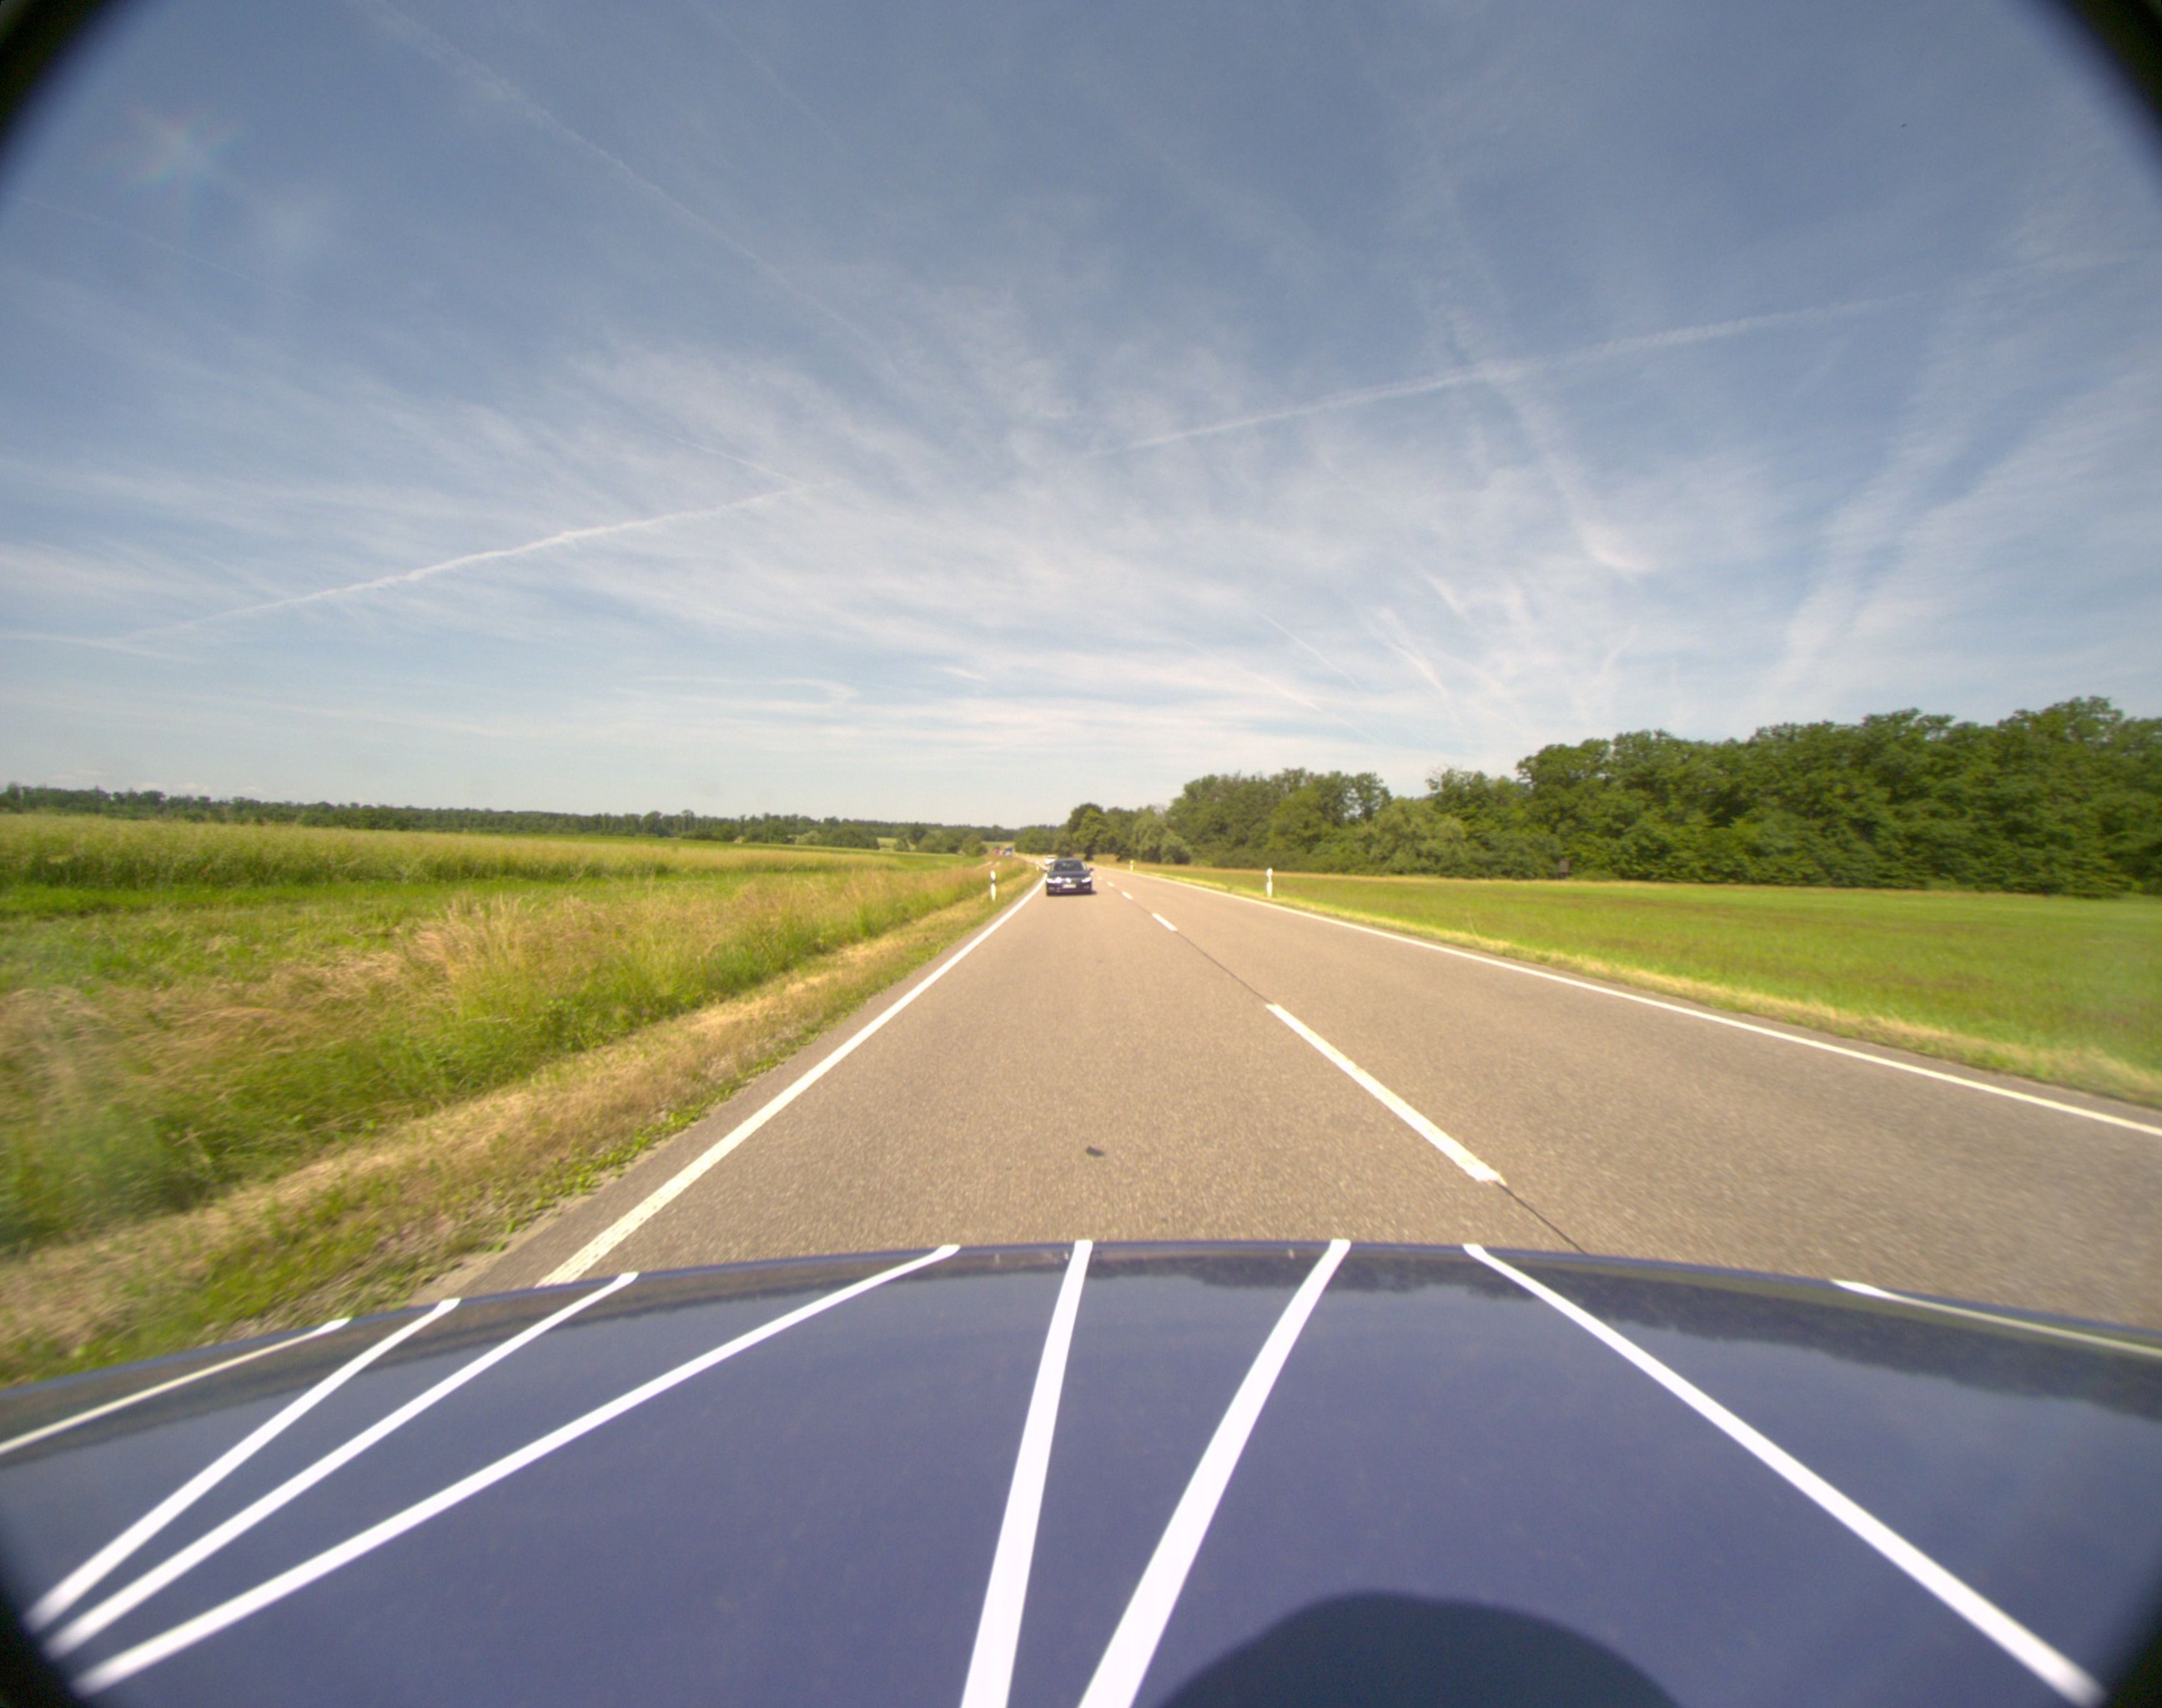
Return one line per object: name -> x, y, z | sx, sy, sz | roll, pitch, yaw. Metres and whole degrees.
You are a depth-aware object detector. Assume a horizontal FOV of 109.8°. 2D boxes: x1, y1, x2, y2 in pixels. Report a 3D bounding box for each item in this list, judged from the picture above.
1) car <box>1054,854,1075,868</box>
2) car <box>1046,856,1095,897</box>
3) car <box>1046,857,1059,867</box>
car -> -1.777, 0.731, 80.701 | 1.929, 1.501, 4.289 | -1, 0, -4
car -> -0.440, 0.876, 31.675 | 1.822, 1.501, 4.500 | -2, 0, -1
car -> -4.374, 1.222, 115.742 | 1.929, 1.501, 4.290 | 1, 0, -4
